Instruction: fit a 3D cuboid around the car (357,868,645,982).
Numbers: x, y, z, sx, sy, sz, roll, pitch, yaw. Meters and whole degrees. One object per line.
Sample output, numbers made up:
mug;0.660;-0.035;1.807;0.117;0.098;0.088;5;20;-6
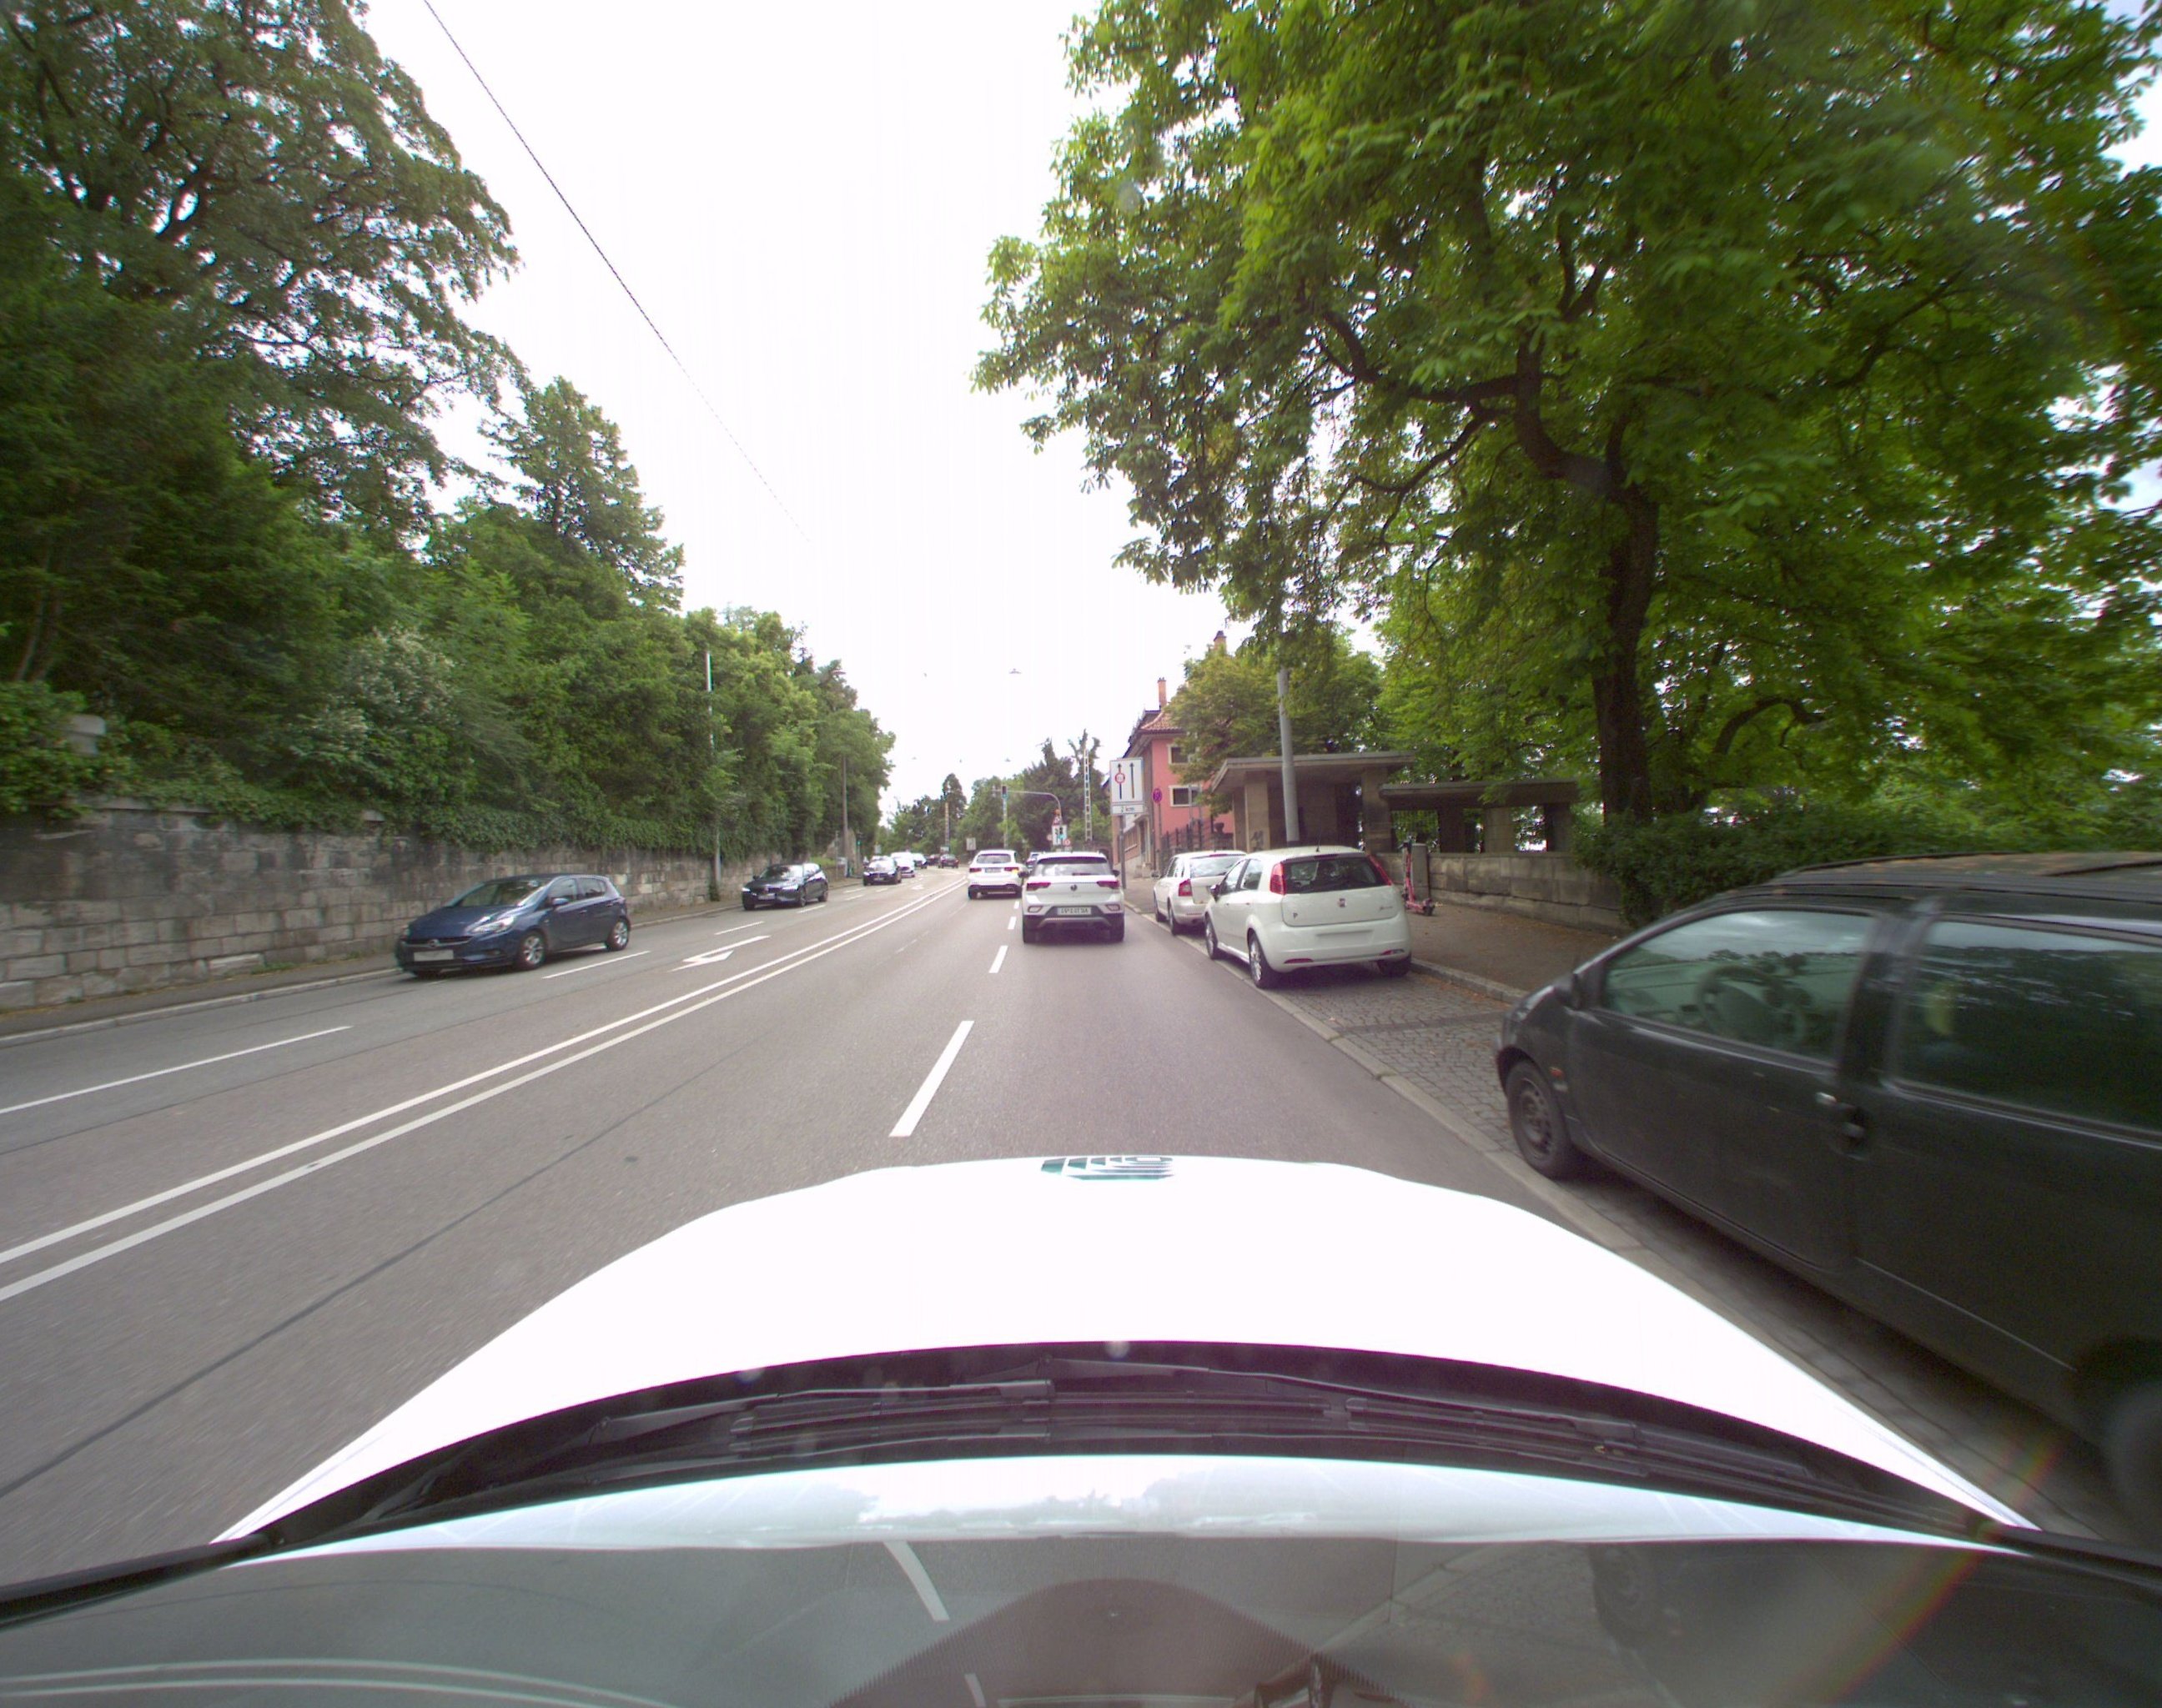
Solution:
car;-9.180;1.025;13.384;1.837;1.436;3.998;-3;0;-1

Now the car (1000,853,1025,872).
car;-5.565;0.739;66.528;1.990;1.450;4.144;-1;-1;-4

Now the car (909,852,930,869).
car;-16.926;0.646;85.290;1.848;1.632;4.350;-1;0;-8

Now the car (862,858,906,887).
car;-10.856;0.991;45.131;1.559;1.402;4.248;-3;0;-3

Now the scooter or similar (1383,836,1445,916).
scooter or similar;5.574;0.350;13.690;0.515;1.260;1.169;-4;0;2

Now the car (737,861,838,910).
car;-9.718;0.982;27.358;1.838;1.409;4.452;-3;0;-2

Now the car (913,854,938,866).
car;-21.538;0.825;112.819;2.008;1.575;4.107;-1;-1;-33

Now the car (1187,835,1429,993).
car;2.610;0.600;10.388;1.711;1.471;4.035;-5;1;-2

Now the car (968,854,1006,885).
car;-4.640;0.751;40.104;1.756;1.471;3.786;0;-1;-7

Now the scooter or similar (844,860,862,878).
scooter or similar;-15.863;1.041;56.708;0.429;1.237;1.105;2;-2;37

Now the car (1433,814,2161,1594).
car;2.772;0.645;2.758;1.557;1.422;3.423;-5;0;-1

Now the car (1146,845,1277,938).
car;2.361;0.624;15.790;1.671;1.461;4.363;-3;0;-1

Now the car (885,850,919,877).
car;-12.876;0.710;58.778;1.891;1.848;4.385;-2;-1;-7

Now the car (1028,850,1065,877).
car;-1.974;0.575;47.539;1.988;1.414;4.147;-2;-1;-2

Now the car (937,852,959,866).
car;-14.186;0.573;86.654;1.785;1.454;3.975;-1;-1;-18

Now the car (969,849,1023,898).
car;-2.950;0.666;28.811;1.754;1.609;3.789;0;-1;-4

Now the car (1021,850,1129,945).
car;-0.232;0.734;15.306;1.755;1.556;3.788;0;-1;-5
